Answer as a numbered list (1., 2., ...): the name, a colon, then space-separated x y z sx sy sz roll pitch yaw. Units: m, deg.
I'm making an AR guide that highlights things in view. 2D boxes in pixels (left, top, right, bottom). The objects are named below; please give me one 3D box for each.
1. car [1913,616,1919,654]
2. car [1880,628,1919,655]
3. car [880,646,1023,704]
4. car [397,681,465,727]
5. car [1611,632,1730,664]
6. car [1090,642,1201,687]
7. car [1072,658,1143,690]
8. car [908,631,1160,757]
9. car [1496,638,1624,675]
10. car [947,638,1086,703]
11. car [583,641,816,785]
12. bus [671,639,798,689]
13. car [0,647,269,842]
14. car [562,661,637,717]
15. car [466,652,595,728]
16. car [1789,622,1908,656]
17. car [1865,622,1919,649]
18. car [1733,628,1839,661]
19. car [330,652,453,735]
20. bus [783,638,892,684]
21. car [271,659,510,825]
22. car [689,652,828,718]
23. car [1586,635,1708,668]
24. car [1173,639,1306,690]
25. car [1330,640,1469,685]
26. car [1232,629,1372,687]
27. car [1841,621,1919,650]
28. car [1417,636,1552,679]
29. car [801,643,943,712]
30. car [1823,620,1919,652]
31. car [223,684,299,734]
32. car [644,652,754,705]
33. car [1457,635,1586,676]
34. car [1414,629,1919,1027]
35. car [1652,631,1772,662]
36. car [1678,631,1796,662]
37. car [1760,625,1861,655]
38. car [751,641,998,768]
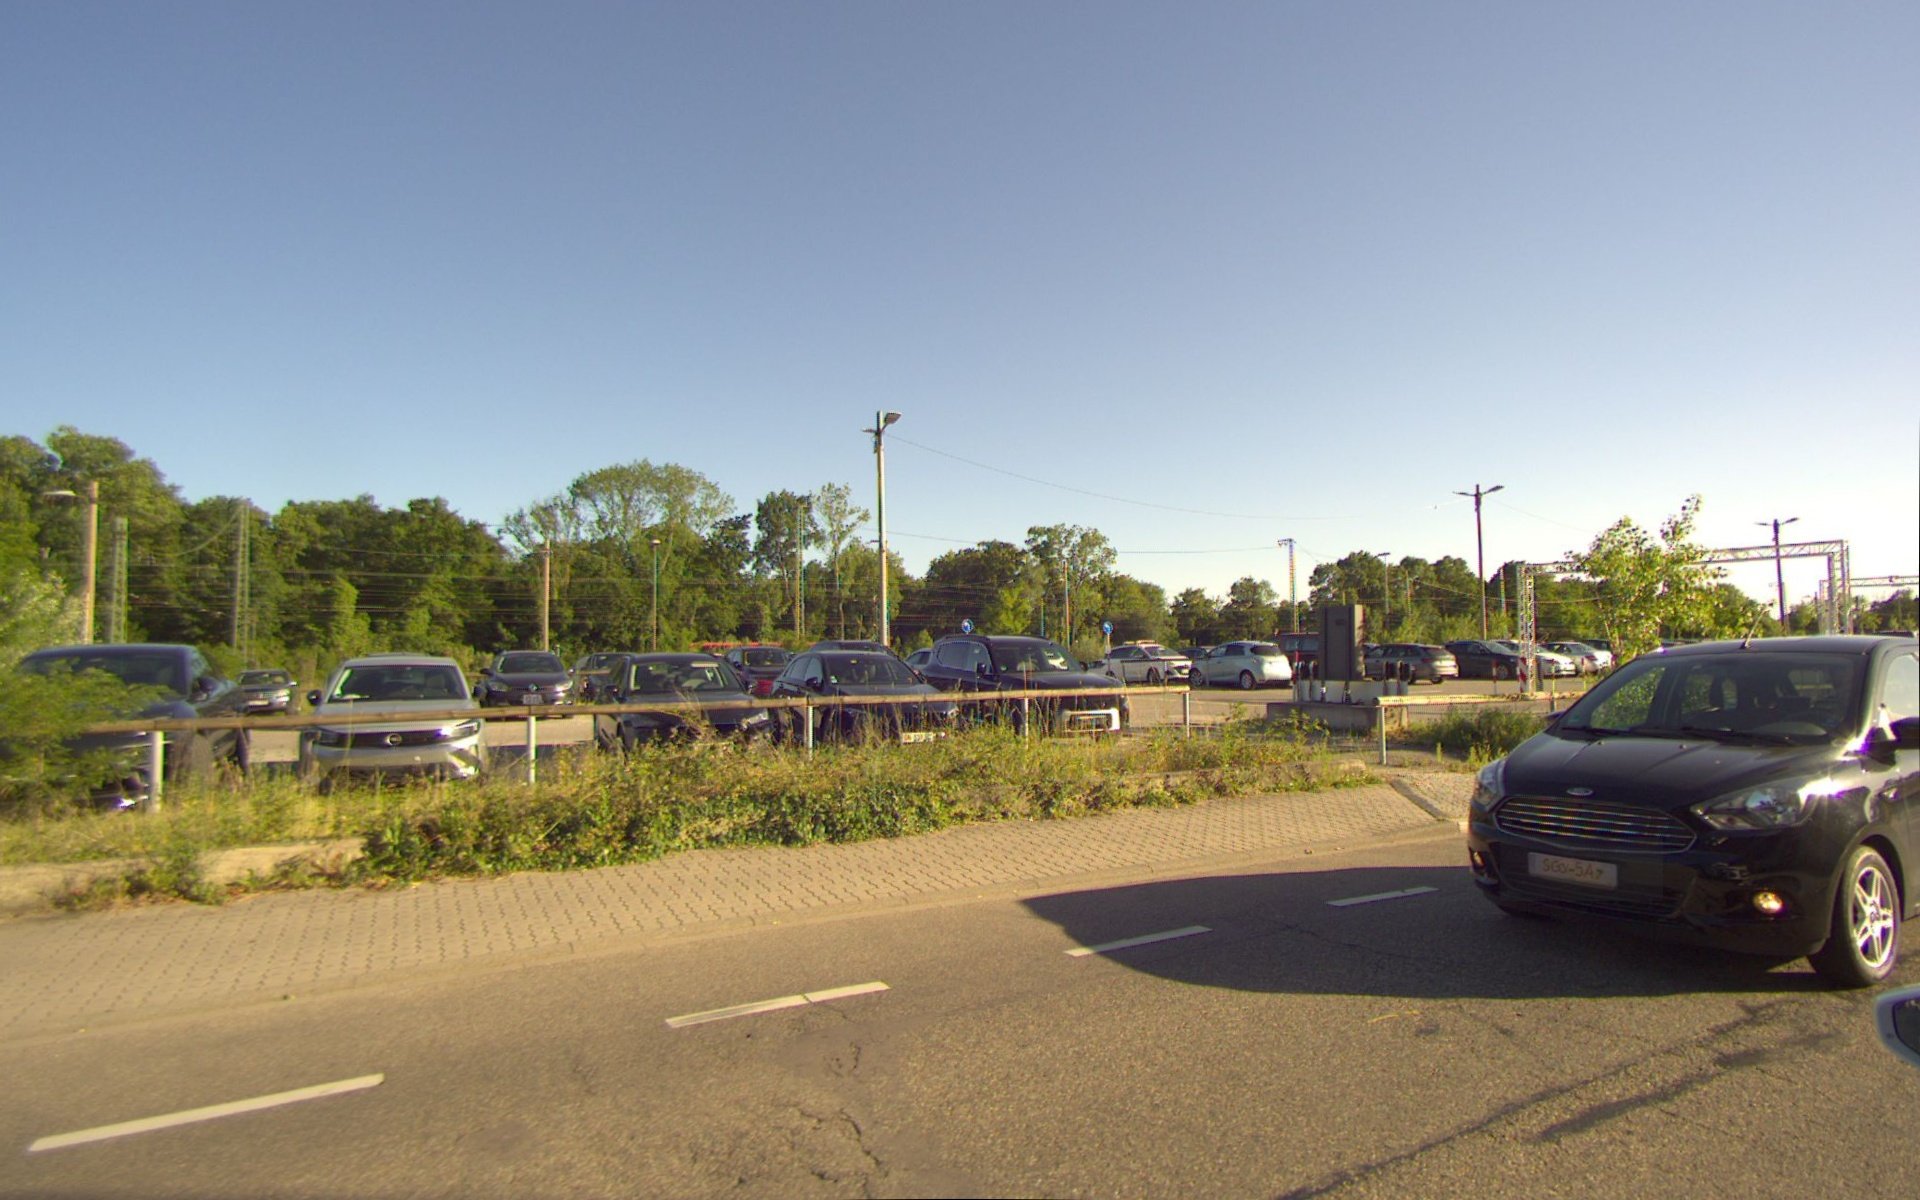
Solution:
1. car: 66.129 2.200 65.766 2.292 2.491 4.906 0 -3 -29
2. car: 61.540 2.584 63.774 1.855 1.639 4.190 0 -3 -29
3. car: -0.317 2.054 27.411 2.026 1.415 4.139 0 -4 -32
4. car: -18.967 3.687 35.939 1.841 1.484 3.986 0 -4 -32
5. car: 34.322 2.342 48.663 1.855 1.438 4.304 0 -3 -29
6. car: 7.006 2.473 38.396 1.834 1.565 4.351 0 -3 -28
7. car: 7.469 3.782 51.056 1.705 1.500 3.593 0 -4 -29
8. car: 1.004 1.456 16.173 2.022 1.691 4.414 0 -4 -27
9. car: 25.431 2.417 42.704 1.854 1.411 4.306 0 -3 -28
10. car: 1.530 2.032 28.793 1.944 1.683 4.141 0 -4 -31
11. car: -3.575 1.374 13.084 2.022 1.480 4.414 0 -4 -27
12. bus: -11.972 3.400 53.462 6.126 2.378 2.531 0 -4 -28
13. car: -8.786 1.377 10.486 2.022 1.601 4.414 0 -4 -27
14. car: -13.654 3.343 37.897 1.841 1.943 3.986 0 -4 -32
15. car: -9.762 2.000 22.639 2.026 1.484 4.380 0 -4 -32
16. car: 50.115 2.249 56.793 2.030 1.763 4.569 -1 -3 -25
17. car: 59.398 2.181 62.384 1.855 1.639 4.304 0 -3 -29
18. car: 43.818 2.364 53.366 1.855 1.624 3.867 0 -3 -29
19. car: -11.869 1.895 20.862 2.026 1.484 4.380 0 -4 -32
20. bus: -6.867 3.408 56.208 5.518 2.378 2.531 0 -4 -28
21. car: -6.497 1.499 11.762 2.022 1.480 4.414 0 -4 -27
22. car: -5.068 2.077 24.805 2.026 1.415 4.139 0 -4 -32
23. car: 32.021 2.422 46.946 1.855 1.438 4.304 0 -3 -29
24. car: 9.446 2.189 34.304 1.834 1.565 4.351 0 -3 -28
25. car: 16.282 2.336 37.507 1.964 1.500 4.564 -1 -3 -25
26. car: 11.772 2.025 34.941 1.834 1.828 4.560 0 -3 -28
27. car: 57.065 2.153 61.454 1.855 1.639 4.304 0 -3 -29
28. car: 21.032 2.322 40.461 1.834 1.605 4.560 0 -3 -28
29. car: -2.374 2.003 26.139 2.026 1.599 4.139 0 -4 -32
30. car: 54.733 2.166 60.091 1.855 1.815 4.304 0 -3 -29
31. car: -23.067 3.552 33.269 1.841 1.484 3.986 0 -4 -32
32. car: -7.829 2.332 29.857 2.026 1.415 4.139 0 -4 -32
33. car: 23.136 2.320 41.568 1.854 1.543 4.306 0 -3 -28
34. car: 4.569 0.979 5.606 3.952 1.522 1.647 1 -5 -30
35. car: 36.795 2.306 49.287 1.855 1.394 4.304 0 -3 -29
36. car: 39.155 2.363 50.728 1.855 1.394 4.304 0 -3 -29
37. car: 47.338 2.232 55.996 1.855 1.539 3.867 0 -3 -29
38. car: -1.422 1.431 14.482 2.022 1.480 4.414 0 -4 -27
